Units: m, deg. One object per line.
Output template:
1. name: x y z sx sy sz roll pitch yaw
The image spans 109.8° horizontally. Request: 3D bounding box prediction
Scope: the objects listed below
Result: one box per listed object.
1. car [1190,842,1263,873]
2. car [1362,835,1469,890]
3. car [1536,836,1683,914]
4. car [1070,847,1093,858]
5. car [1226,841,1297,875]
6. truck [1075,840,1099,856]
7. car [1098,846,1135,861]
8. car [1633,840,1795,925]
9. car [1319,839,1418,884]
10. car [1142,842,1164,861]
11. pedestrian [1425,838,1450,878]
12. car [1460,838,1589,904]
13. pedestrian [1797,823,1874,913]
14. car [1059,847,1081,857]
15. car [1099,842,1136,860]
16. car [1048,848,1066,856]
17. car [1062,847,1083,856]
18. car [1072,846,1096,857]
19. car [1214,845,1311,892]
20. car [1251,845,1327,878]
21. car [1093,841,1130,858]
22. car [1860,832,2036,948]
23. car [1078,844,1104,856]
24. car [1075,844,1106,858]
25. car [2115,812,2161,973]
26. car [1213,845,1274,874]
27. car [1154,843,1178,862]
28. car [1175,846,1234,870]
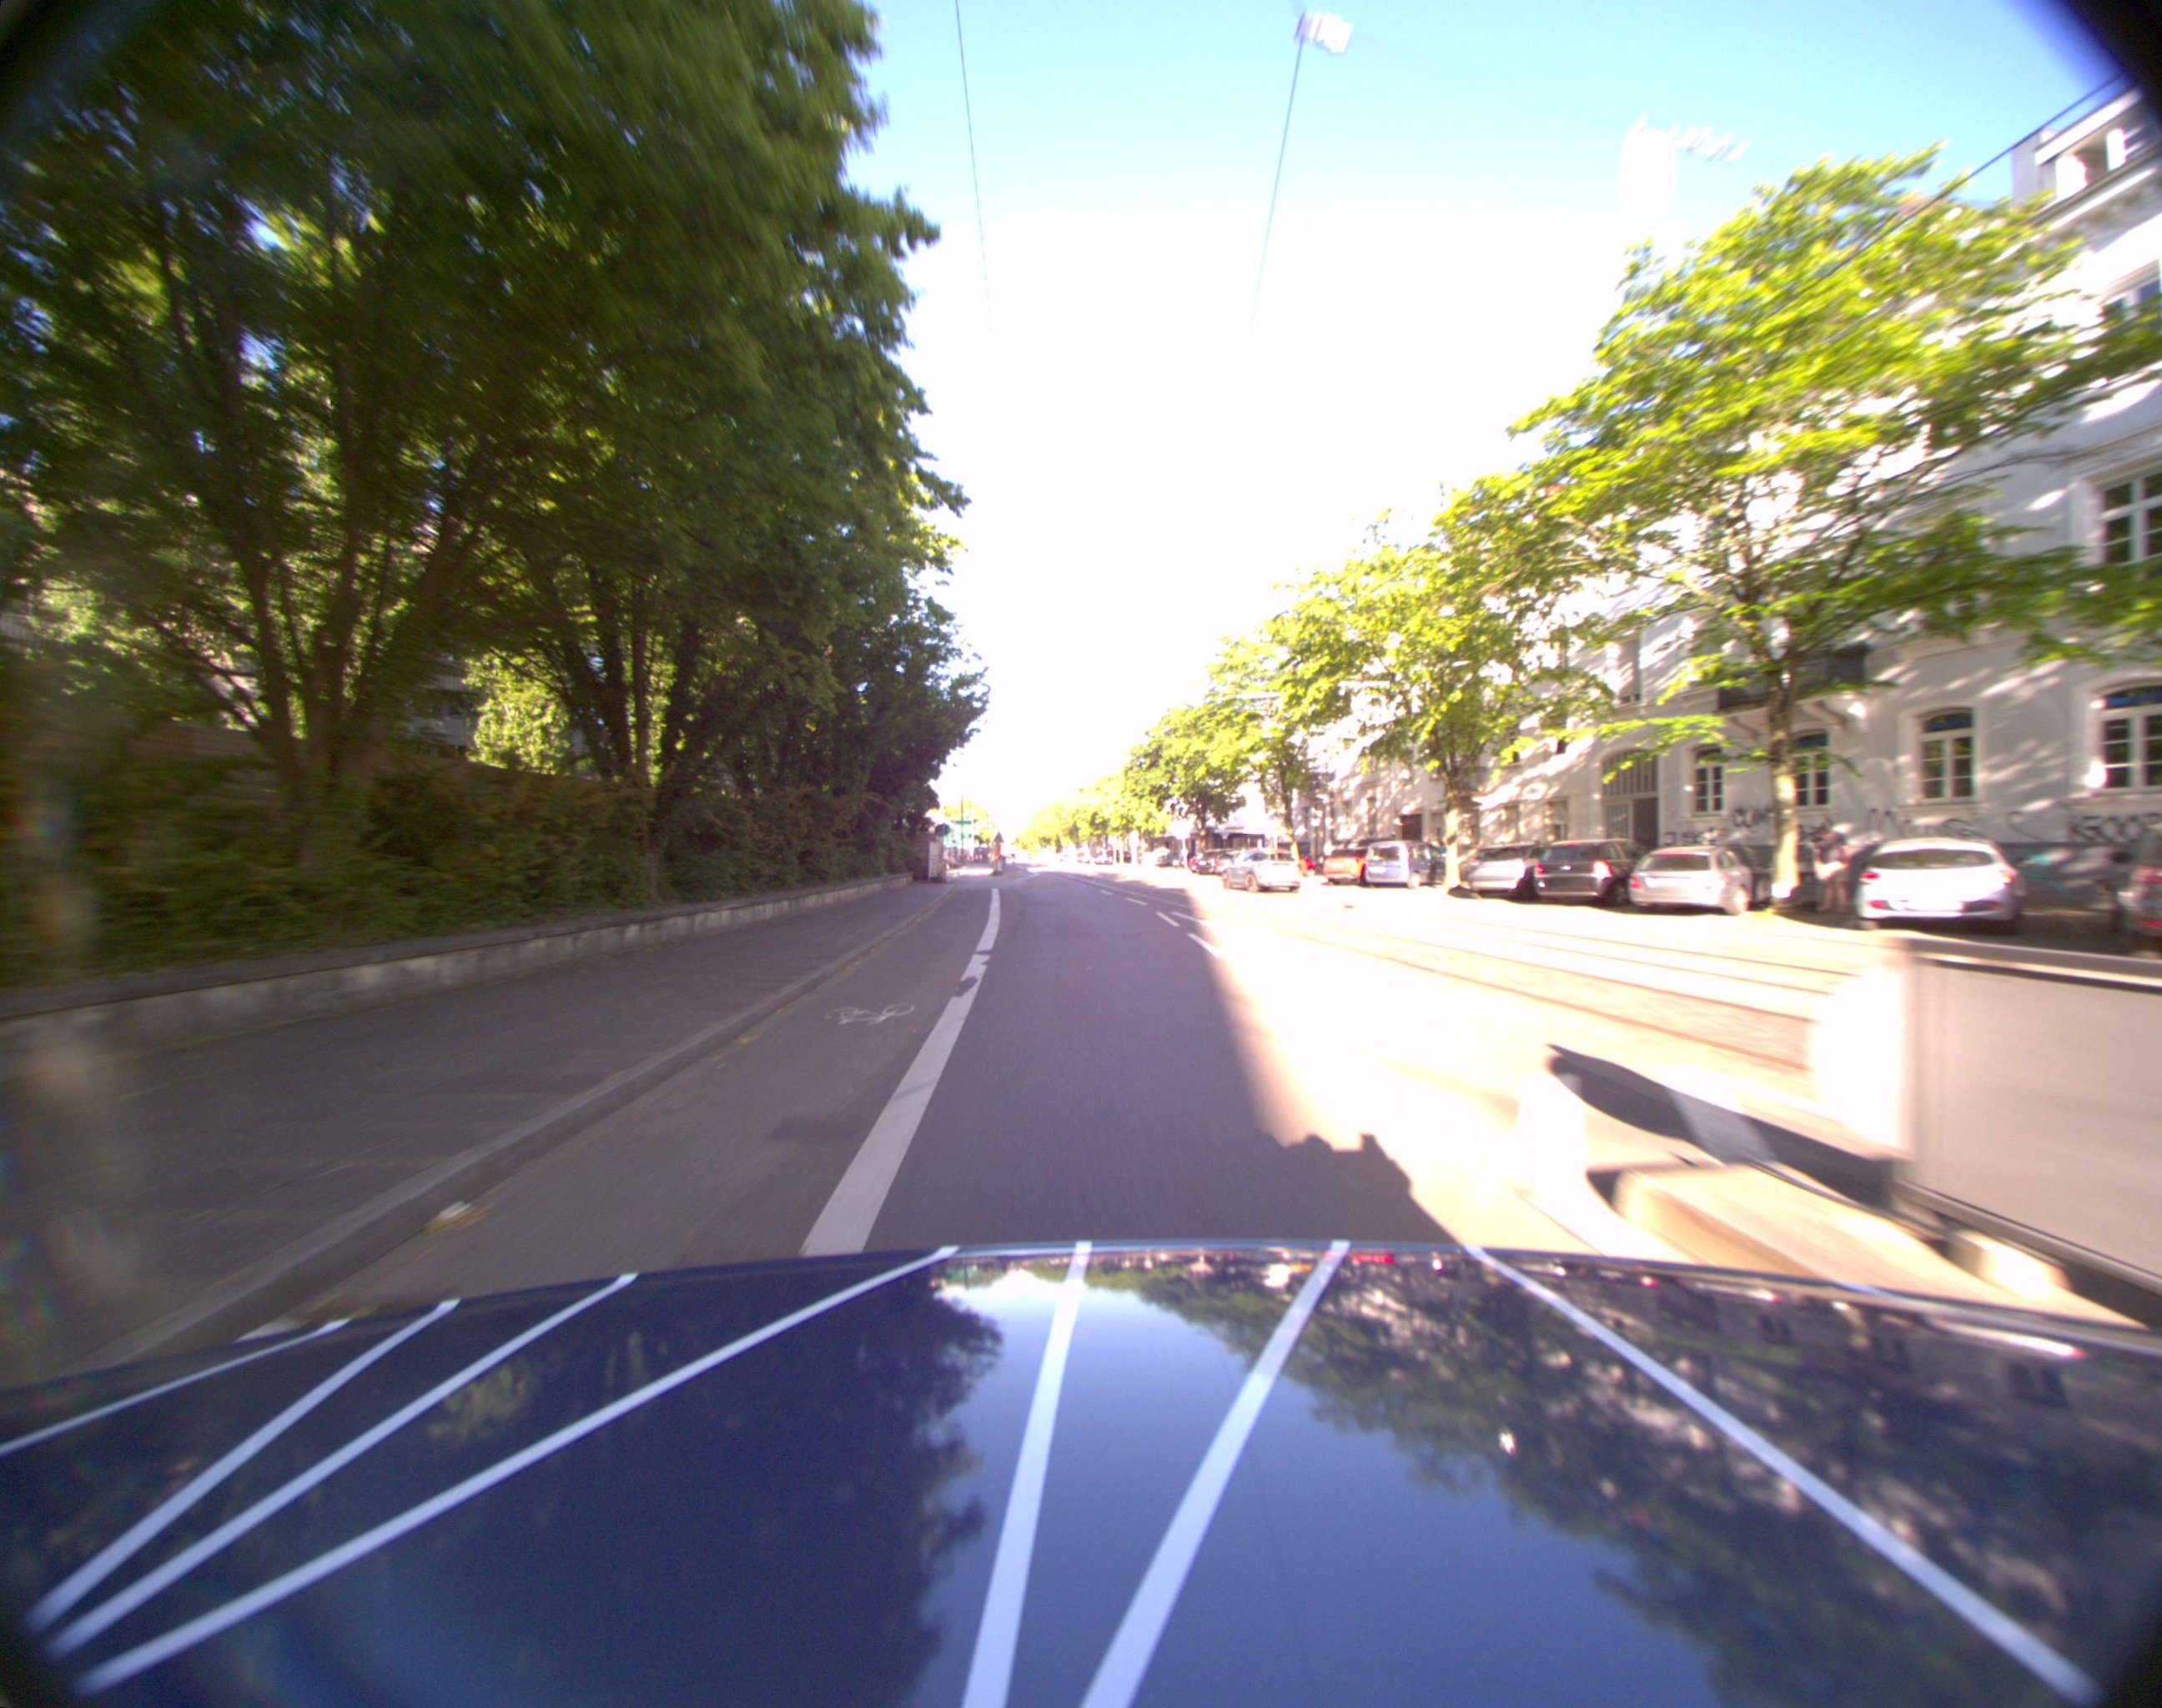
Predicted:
1. car: 9.557 0.198 49.860 4.365 1.704 1.944 -4 2 -29
2. car: 12.810 0.262 29.002 4.207 1.788 1.781 -4 3 -35
3. car: 13.290 0.440 19.048 3.877 1.645 1.768 -3 2 -35
4. car: 0.085 -0.281 131.613 3.774 1.584 1.671 -3 1 -12
5. car: 10.608 0.228 44.609 4.208 1.714 1.780 -4 3 -38
6. truck: 0.987 -0.975 124.846 3.772 2.410 1.671 -3 2 -7
7. car: 4.239 -0.078 91.660 4.103 1.561 1.671 -3 1 -12
8. car: 13.745 0.521 16.443 3.828 1.477 1.766 -4 3 -35
9. car: 12.154 0.301 32.002 4.207 1.627 1.739 -4 1 -35
10. car: 7.488 -0.273 79.395 1.672 1.887 3.212 -1 1 -6
11. pedestrian: 15.160 0.152 32.296 0.643 1.686 0.870 -1 1 -1
12. car: 12.932 0.433 22.077 3.877 1.645 1.768 -3 2 -35
13. pedestrian: 15.154 0.271 15.275 0.766 1.745 0.807 -1 1 -17
14. car: -2.128 -0.397 142.442 3.774 1.584 1.671 -3 1 -12
15. car: 4.548 -0.386 95.266 4.309 1.940 1.671 -3 2 -12
16. car: -5.198 -0.347 163.171 3.623 1.492 1.502 -3 2 -12
17. car: -1.648 -0.516 148.309 3.774 1.584 1.671 -3 1 -12
18. car: 0.445 -0.443 128.432 3.774 1.584 1.671 -3 1 -12
19. car: 6.632 0.475 28.286 1.877 1.591 4.422 -1 1 -10
20. car: 11.466 0.372 41.789 4.208 1.549 1.636 -3 2 -35
21. car: 3.937 -0.543 98.229 4.309 1.940 1.671 -3 2 -12
22. car: 14.481 0.510 12.657 3.285 1.524 1.703 -5 2 -37
23. car: 1.562 -0.618 119.727 3.774 1.584 1.671 -3 1 -12
24. car: 1.344 -0.456 108.627 4.103 1.768 1.671 -3 2 -12
25. car: 14.614 0.380 9.618 4.293 1.713 1.703 -5 3 -37
26. car: 10.159 0.315 47.391 3.772 1.511 1.744 -4 3 -40
27. car: 8.346 -0.163 75.158 1.672 1.887 3.212 -1 1 -6
28. car: 8.751 0.267 53.623 4.007 1.478 1.777 -4 2 -38
